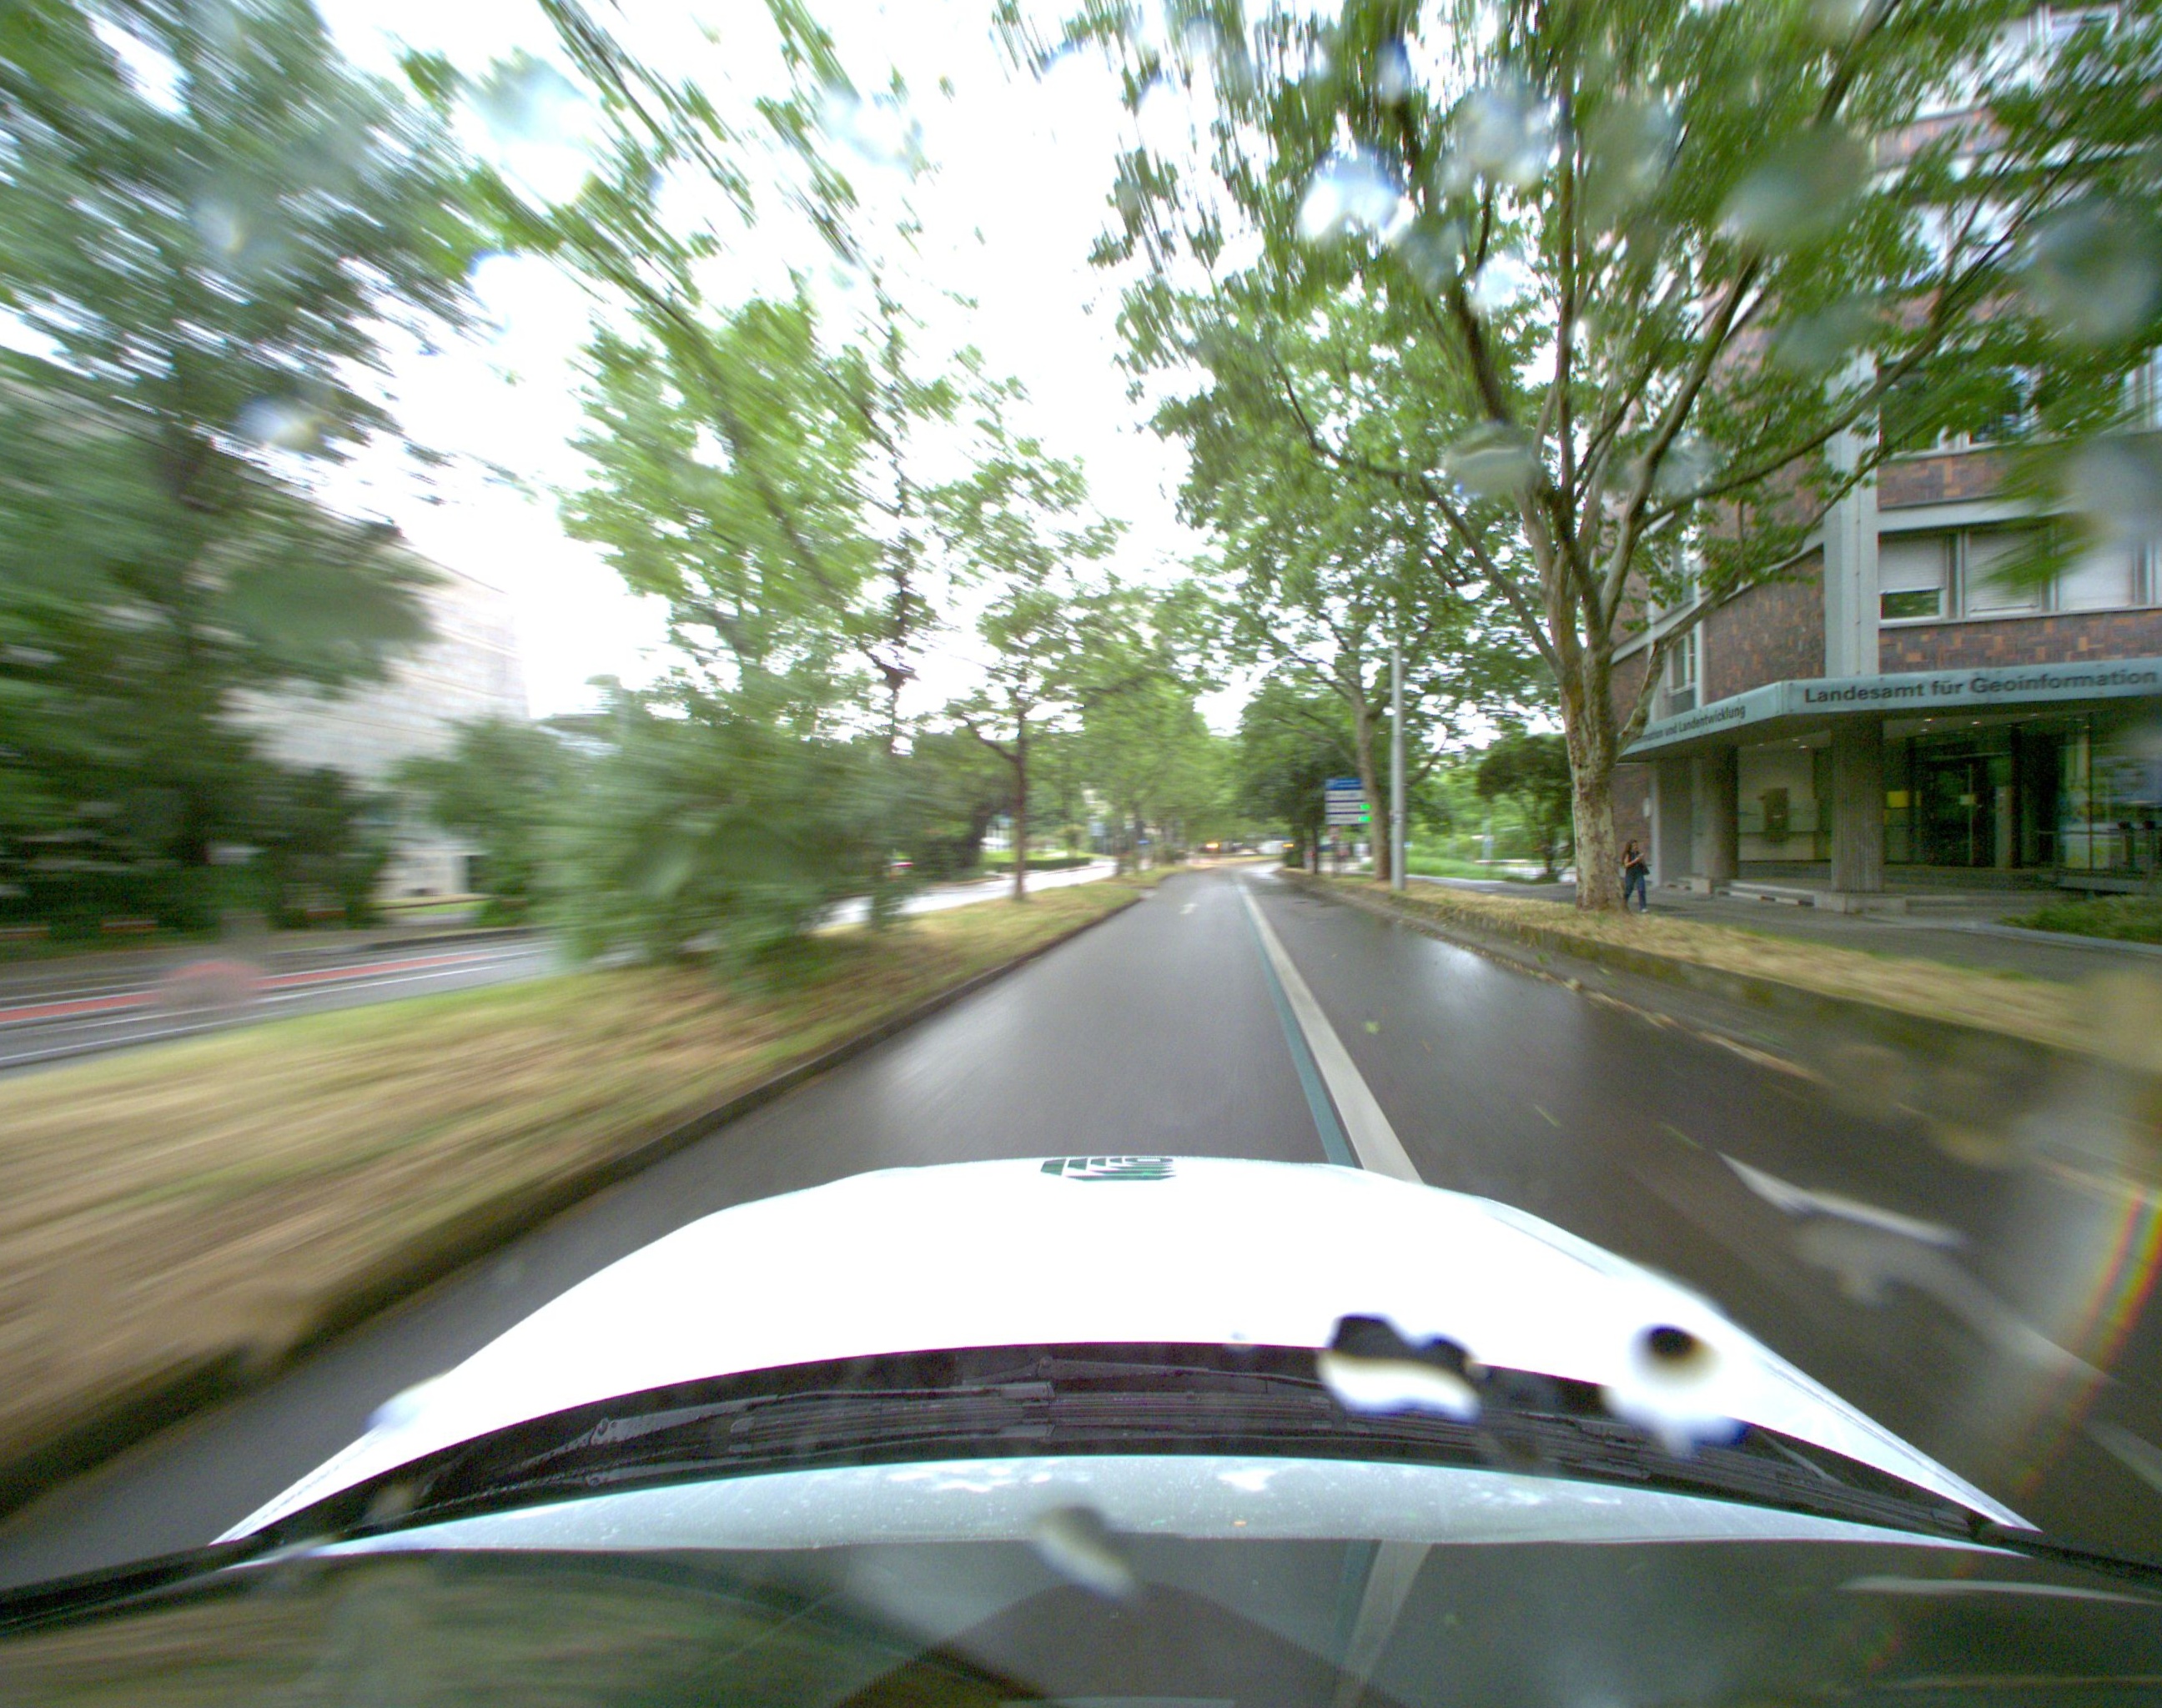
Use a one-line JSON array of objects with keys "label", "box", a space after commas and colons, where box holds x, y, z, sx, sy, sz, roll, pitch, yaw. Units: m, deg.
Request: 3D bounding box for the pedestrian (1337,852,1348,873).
[{"label": "pedestrian", "box": [20.980, 0.674, 65.286, 0.699, 1.639, 0.937, 0, 0, 9]}]

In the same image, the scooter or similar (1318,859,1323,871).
[{"label": "scooter or similar", "box": [20.234, 0.941, 68.831, 0.291, 1.025, 1.068, 0, 0, 9]}]

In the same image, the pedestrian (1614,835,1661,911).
[{"label": "pedestrian", "box": [12.439, 0.416, 18.222, 0.517, 1.639, 0.937, 0, 0, 9]}]
